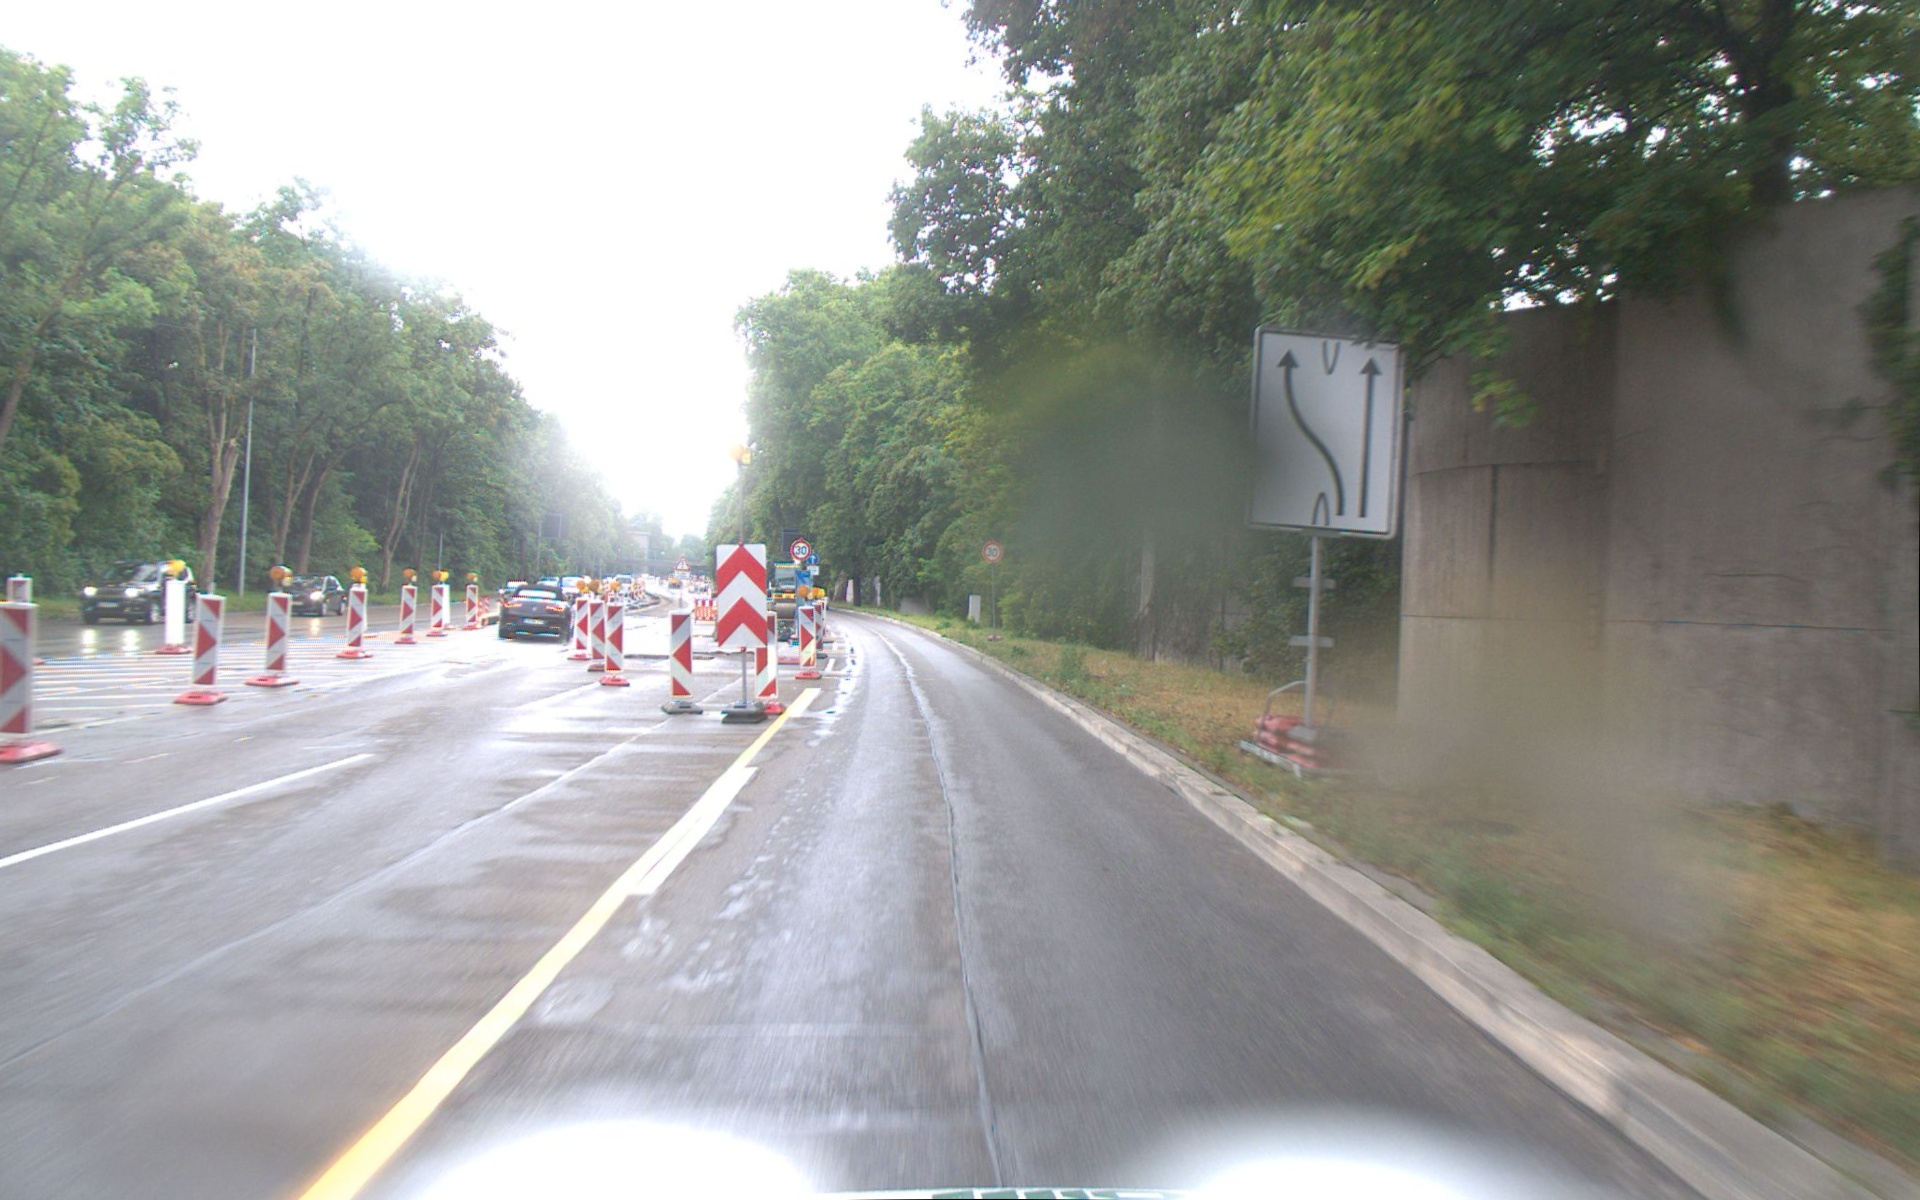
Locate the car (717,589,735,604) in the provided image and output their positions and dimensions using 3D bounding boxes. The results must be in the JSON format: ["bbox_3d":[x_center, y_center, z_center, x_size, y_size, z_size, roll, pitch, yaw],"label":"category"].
[{"bbox_3d":[-29.338,-0.450,207.440,1.839,1.645,3.997,4,1,-4],"label":"car"}]

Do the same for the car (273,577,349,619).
[{"bbox_3d":[-23.533,-0.078,60.060,1.495,1.483,3.538,0,0,-3],"label":"car"}]

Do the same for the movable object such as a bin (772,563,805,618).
[{"bbox_3d":[-9.392,-0.544,90.745,1.713,2.917,3.530,1,0,-6],"label":"movable object such as a bin"}]

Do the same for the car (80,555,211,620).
[{"bbox_3d":[-22.105,-0.342,45.054,1.602,1.676,4.197,1,0,-2],"label":"car"}]

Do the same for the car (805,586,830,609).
[{"bbox_3d":[-11.052,-0.242,128.563,1.876,1.625,4.830,2,1,-4],"label":"car"}]

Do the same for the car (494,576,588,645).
[{"bbox_3d":[-11.174,0.247,44.362,1.826,1.517,3.996,3,2,-7],"label":"car"}]

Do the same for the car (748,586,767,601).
[{"bbox_3d":[-21.557,-0.737,175.740,1.725,1.367,3.992,3,1,-10],"label":"car"}]
